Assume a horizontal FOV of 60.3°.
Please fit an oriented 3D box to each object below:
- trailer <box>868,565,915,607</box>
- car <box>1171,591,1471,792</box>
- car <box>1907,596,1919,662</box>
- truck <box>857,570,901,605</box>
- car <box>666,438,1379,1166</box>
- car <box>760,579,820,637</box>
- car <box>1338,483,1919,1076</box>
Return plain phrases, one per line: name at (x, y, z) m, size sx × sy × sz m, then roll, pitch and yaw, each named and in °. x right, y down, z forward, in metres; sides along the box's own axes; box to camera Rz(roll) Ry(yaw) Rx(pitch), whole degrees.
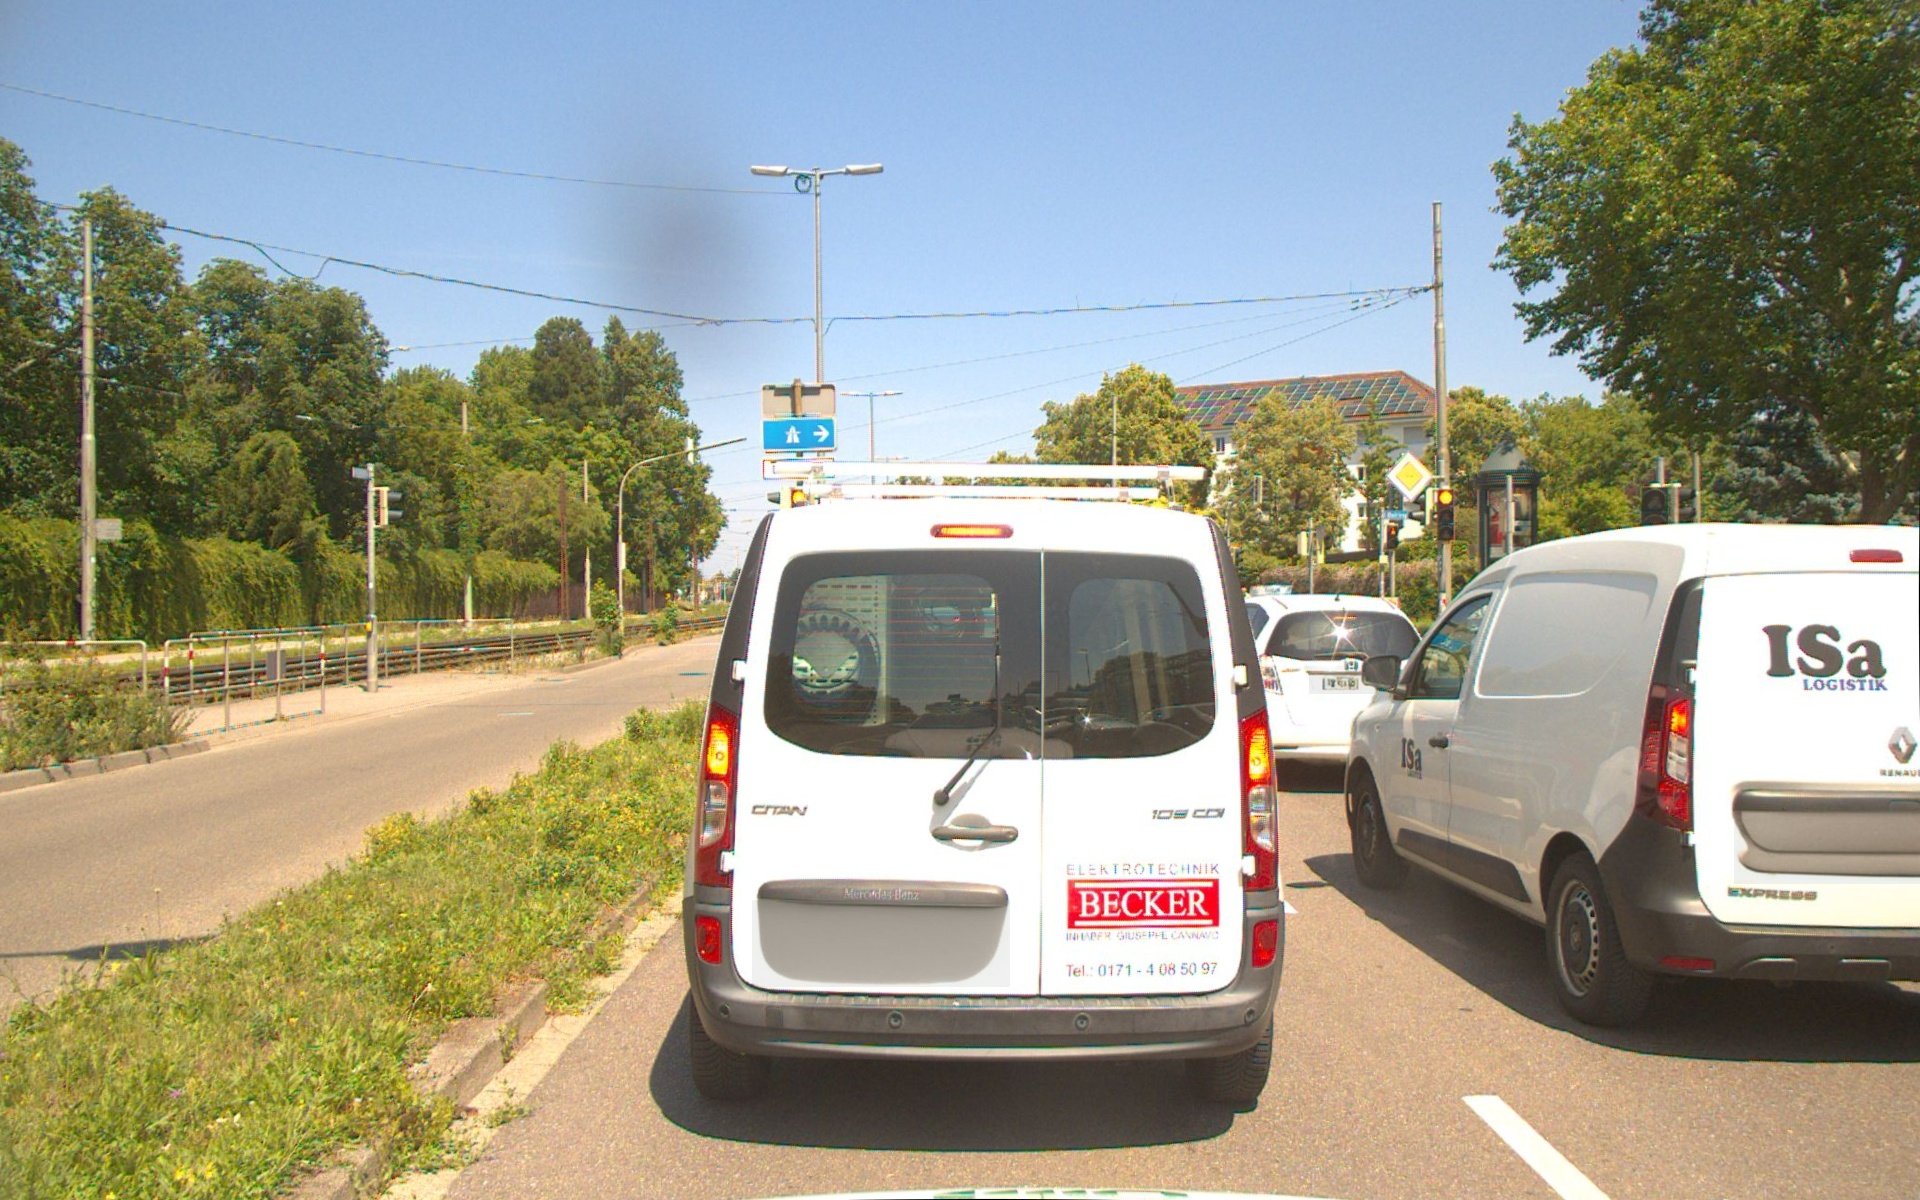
trailer at (-7.064, -1.427, 169.365) m, size 3.465 × 4.121 × 8.953 m, roll 0°, pitch 0°, yaw -11°
car at (3.018, 0.695, 14.657) m, size 1.720 × 1.512 × 3.999 m, roll 1°, pitch 0°, yaw -1°
car at (21.287, 0.541, 32.961) m, size 3.789 × 1.334 × 1.698 m, roll -2°, pitch 0°, yaw 7°
truck at (-8.762, -1.299, 178.157) m, size 3.512 × 3.696 × 8.786 m, roll 0°, pitch 0°, yaw -11°
car at (0.119, 0.524, 6.208) m, size 1.829 × 1.868 × 3.847 m, roll 1°, pitch 0°, yaw -2°
car at (-6.272, 0.266, 60.818) m, size 1.957 × 2.049 × 3.991 m, roll 0°, pitch 0°, yaw -9°
car at (3.021, 0.565, 7.245) m, size 1.676 × 1.862 × 4.012 m, roll 0°, pitch 0°, yaw -2°
